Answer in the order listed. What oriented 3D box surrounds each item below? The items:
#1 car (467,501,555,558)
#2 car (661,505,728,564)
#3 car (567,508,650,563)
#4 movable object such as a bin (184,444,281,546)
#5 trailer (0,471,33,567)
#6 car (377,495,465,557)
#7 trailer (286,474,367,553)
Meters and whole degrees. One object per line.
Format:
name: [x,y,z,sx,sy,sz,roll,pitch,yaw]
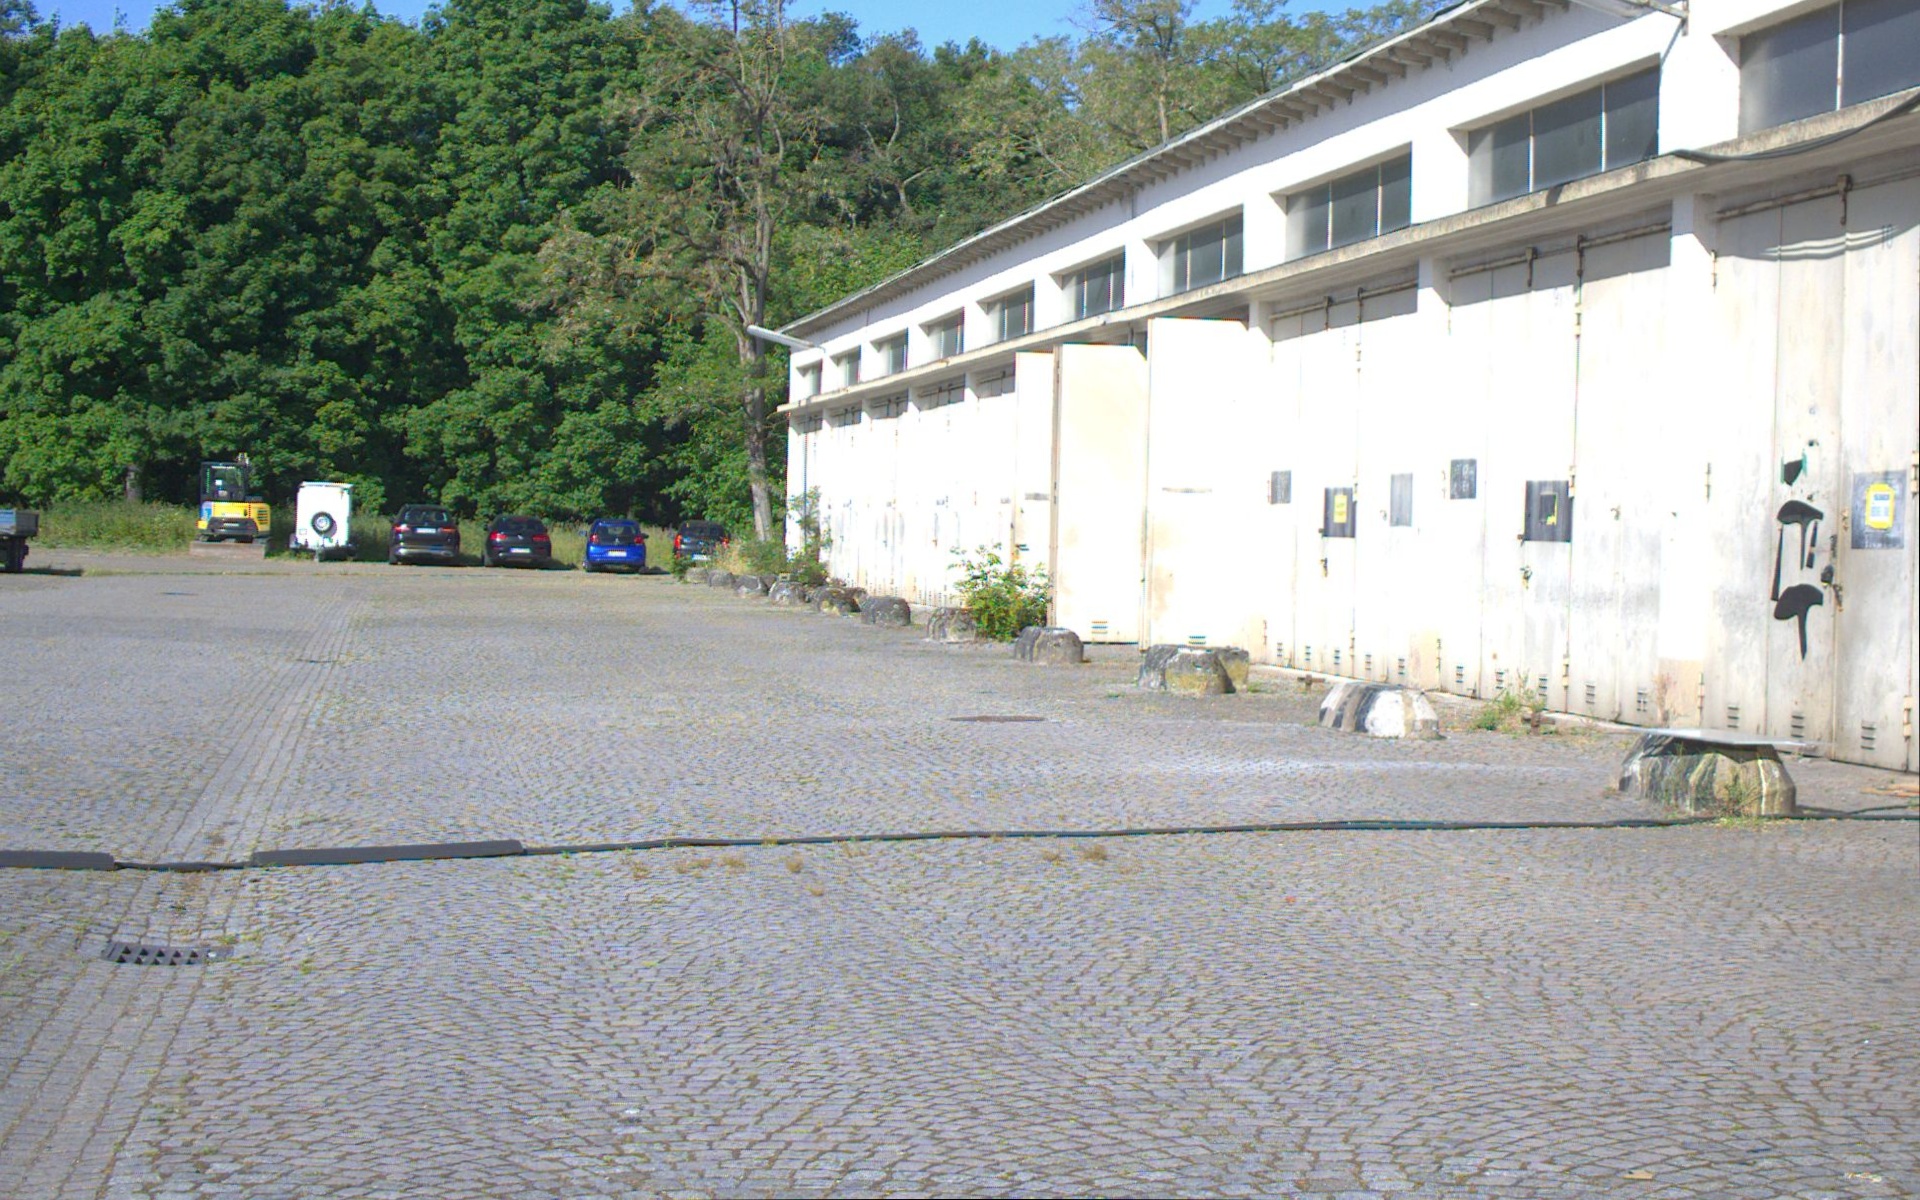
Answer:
car: [-12.189,-1.927,93.593,1.993,1.457,4.001,2,1,-3]
car: [-7.374,-1.840,95.618,1.685,1.558,4.001,2,1,-3]
car: [-9.594,-1.773,94.014,1.993,1.415,4.001,2,1,-3]
movable object such as a bin: [-19.892,-2.849,94.136,1.993,2.609,4.001,4,1,-5]
trailer: [-21.618,-1.835,74.332,2.406,2.007,4.174,4,1,-7]
car: [-14.523,-2.007,92.789,1.861,1.580,4.001,2,1,-3]
trailer: [-17.337,-2.373,94.268,1.793,2.083,3.972,2,1,-5]
